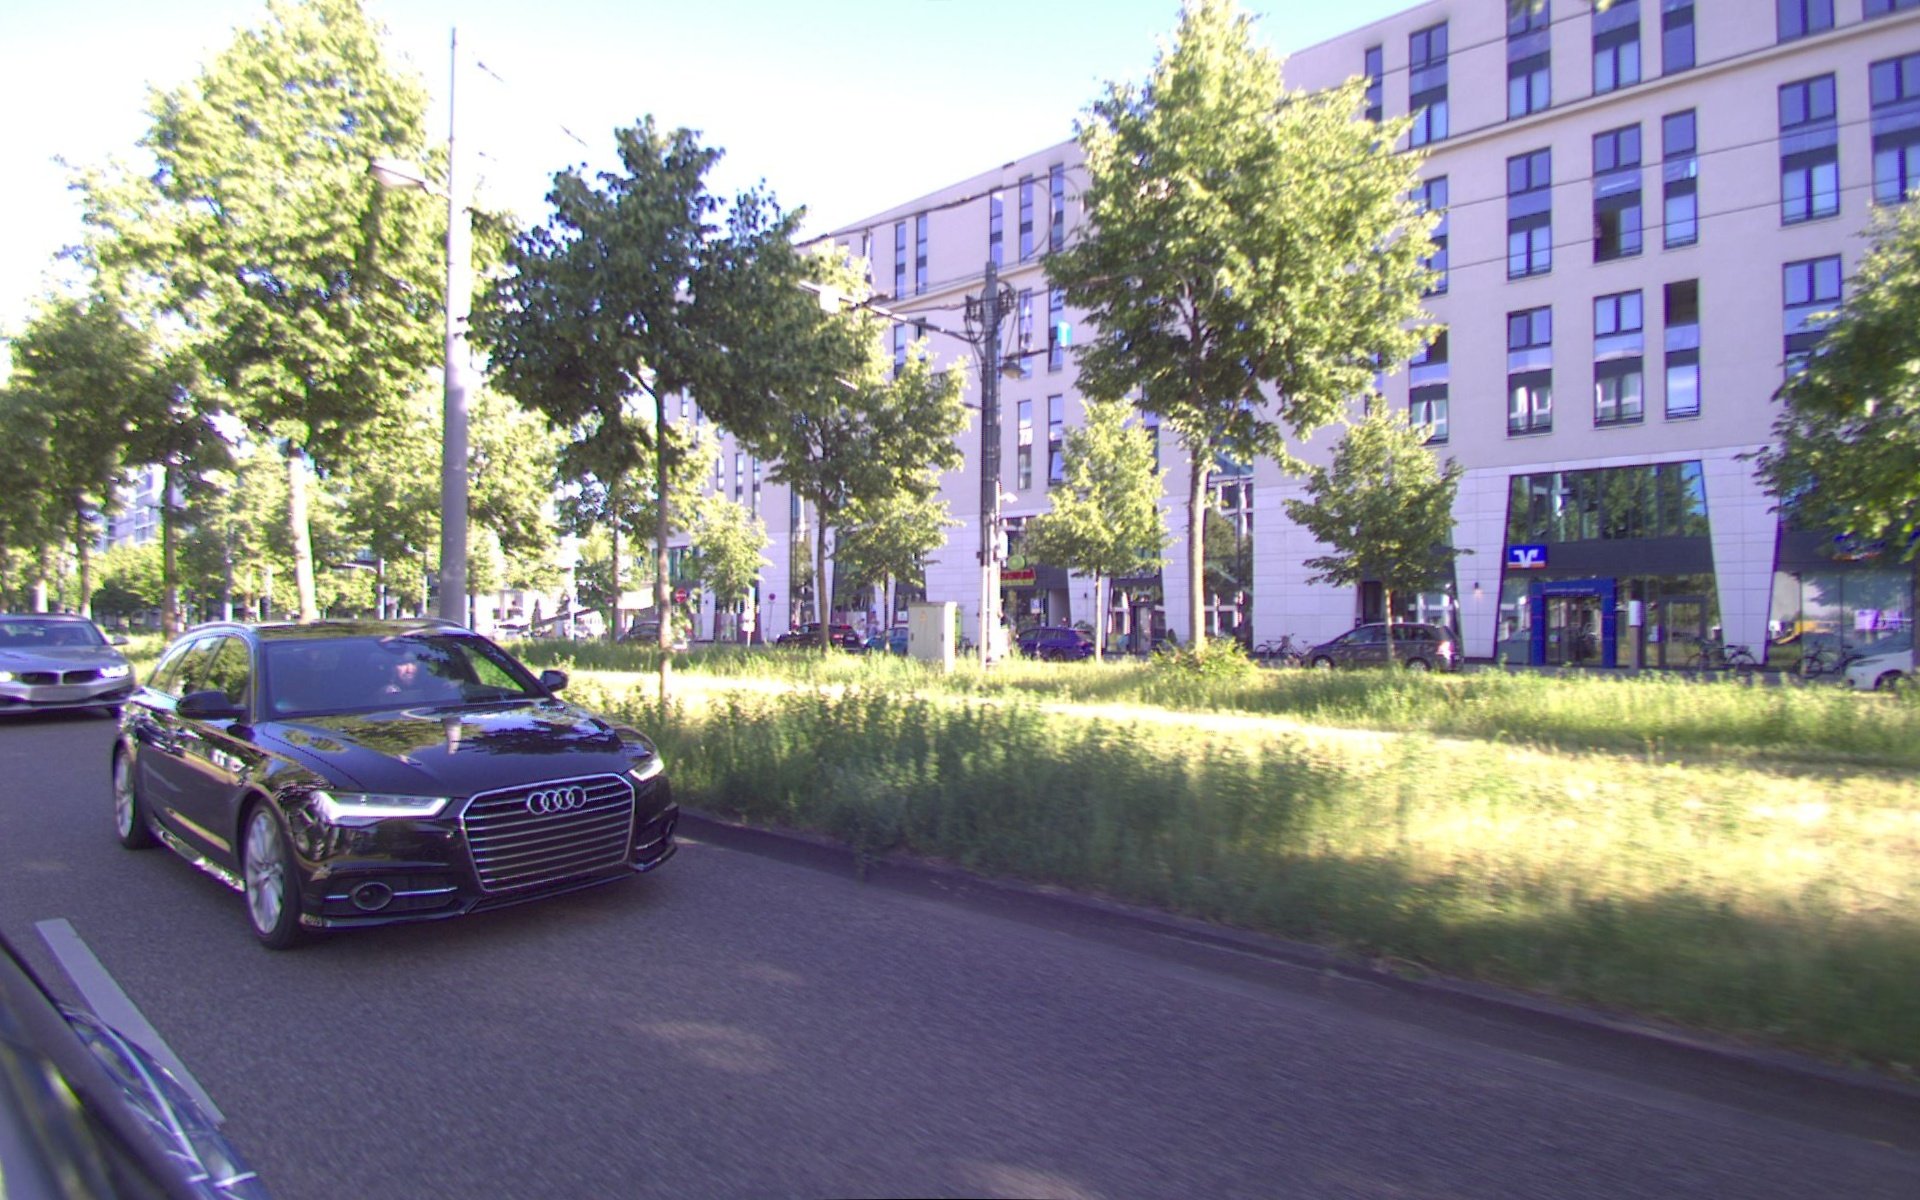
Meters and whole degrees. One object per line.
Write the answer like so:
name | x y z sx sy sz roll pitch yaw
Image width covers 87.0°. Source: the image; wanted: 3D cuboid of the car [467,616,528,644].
car | -31.526 1.997 68.947 4.417 1.822 2.079 -1 0 39

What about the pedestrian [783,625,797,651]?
pedestrian | -9.659 2.170 57.536 0.459 1.470 0.595 -1 0 44

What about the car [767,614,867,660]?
car | -6.571 1.672 46.365 4.549 2.029 1.974 -1 -2 39

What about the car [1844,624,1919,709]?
car | 21.801 1.428 21.592 4.334 1.742 1.974 -1 0 39

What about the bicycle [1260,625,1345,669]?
bicycle | 12.916 1.755 38.273 3.034 1.557 0.611 -1 0 44

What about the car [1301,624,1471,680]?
car | 12.280 1.442 29.339 4.267 1.491 1.542 -1 -1 40

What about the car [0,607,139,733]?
car | -13.593 0.919 14.770 4.276 1.590 1.862 -1 0 42

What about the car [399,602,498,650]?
car | -27.284 1.326 53.875 6.021 2.399 2.481 -1 0 39

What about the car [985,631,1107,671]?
car | 3.158 1.863 37.782 4.331 1.424 1.706 -1 -2 38

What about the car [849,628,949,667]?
car | -2.612 1.972 42.890 3.998 1.584 1.973 -1 -2 41

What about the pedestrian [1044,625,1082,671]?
pedestrian | 4.092 1.877 40.163 1.222 1.756 0.834 -1 0 42

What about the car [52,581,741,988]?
car | -3.695 0.772 6.112 5.080 1.492 1.933 -2 -2 40

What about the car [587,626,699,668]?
car | -12.407 1.787 39.497 4.449 1.452 1.975 -1 0 37

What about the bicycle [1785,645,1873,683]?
bicycle | 24.373 1.786 28.418 1.848 0.960 0.573 -1 0 44

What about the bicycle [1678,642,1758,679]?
bicycle | 22.576 1.783 30.166 0.610 0.996 1.850 -1 0 -43
